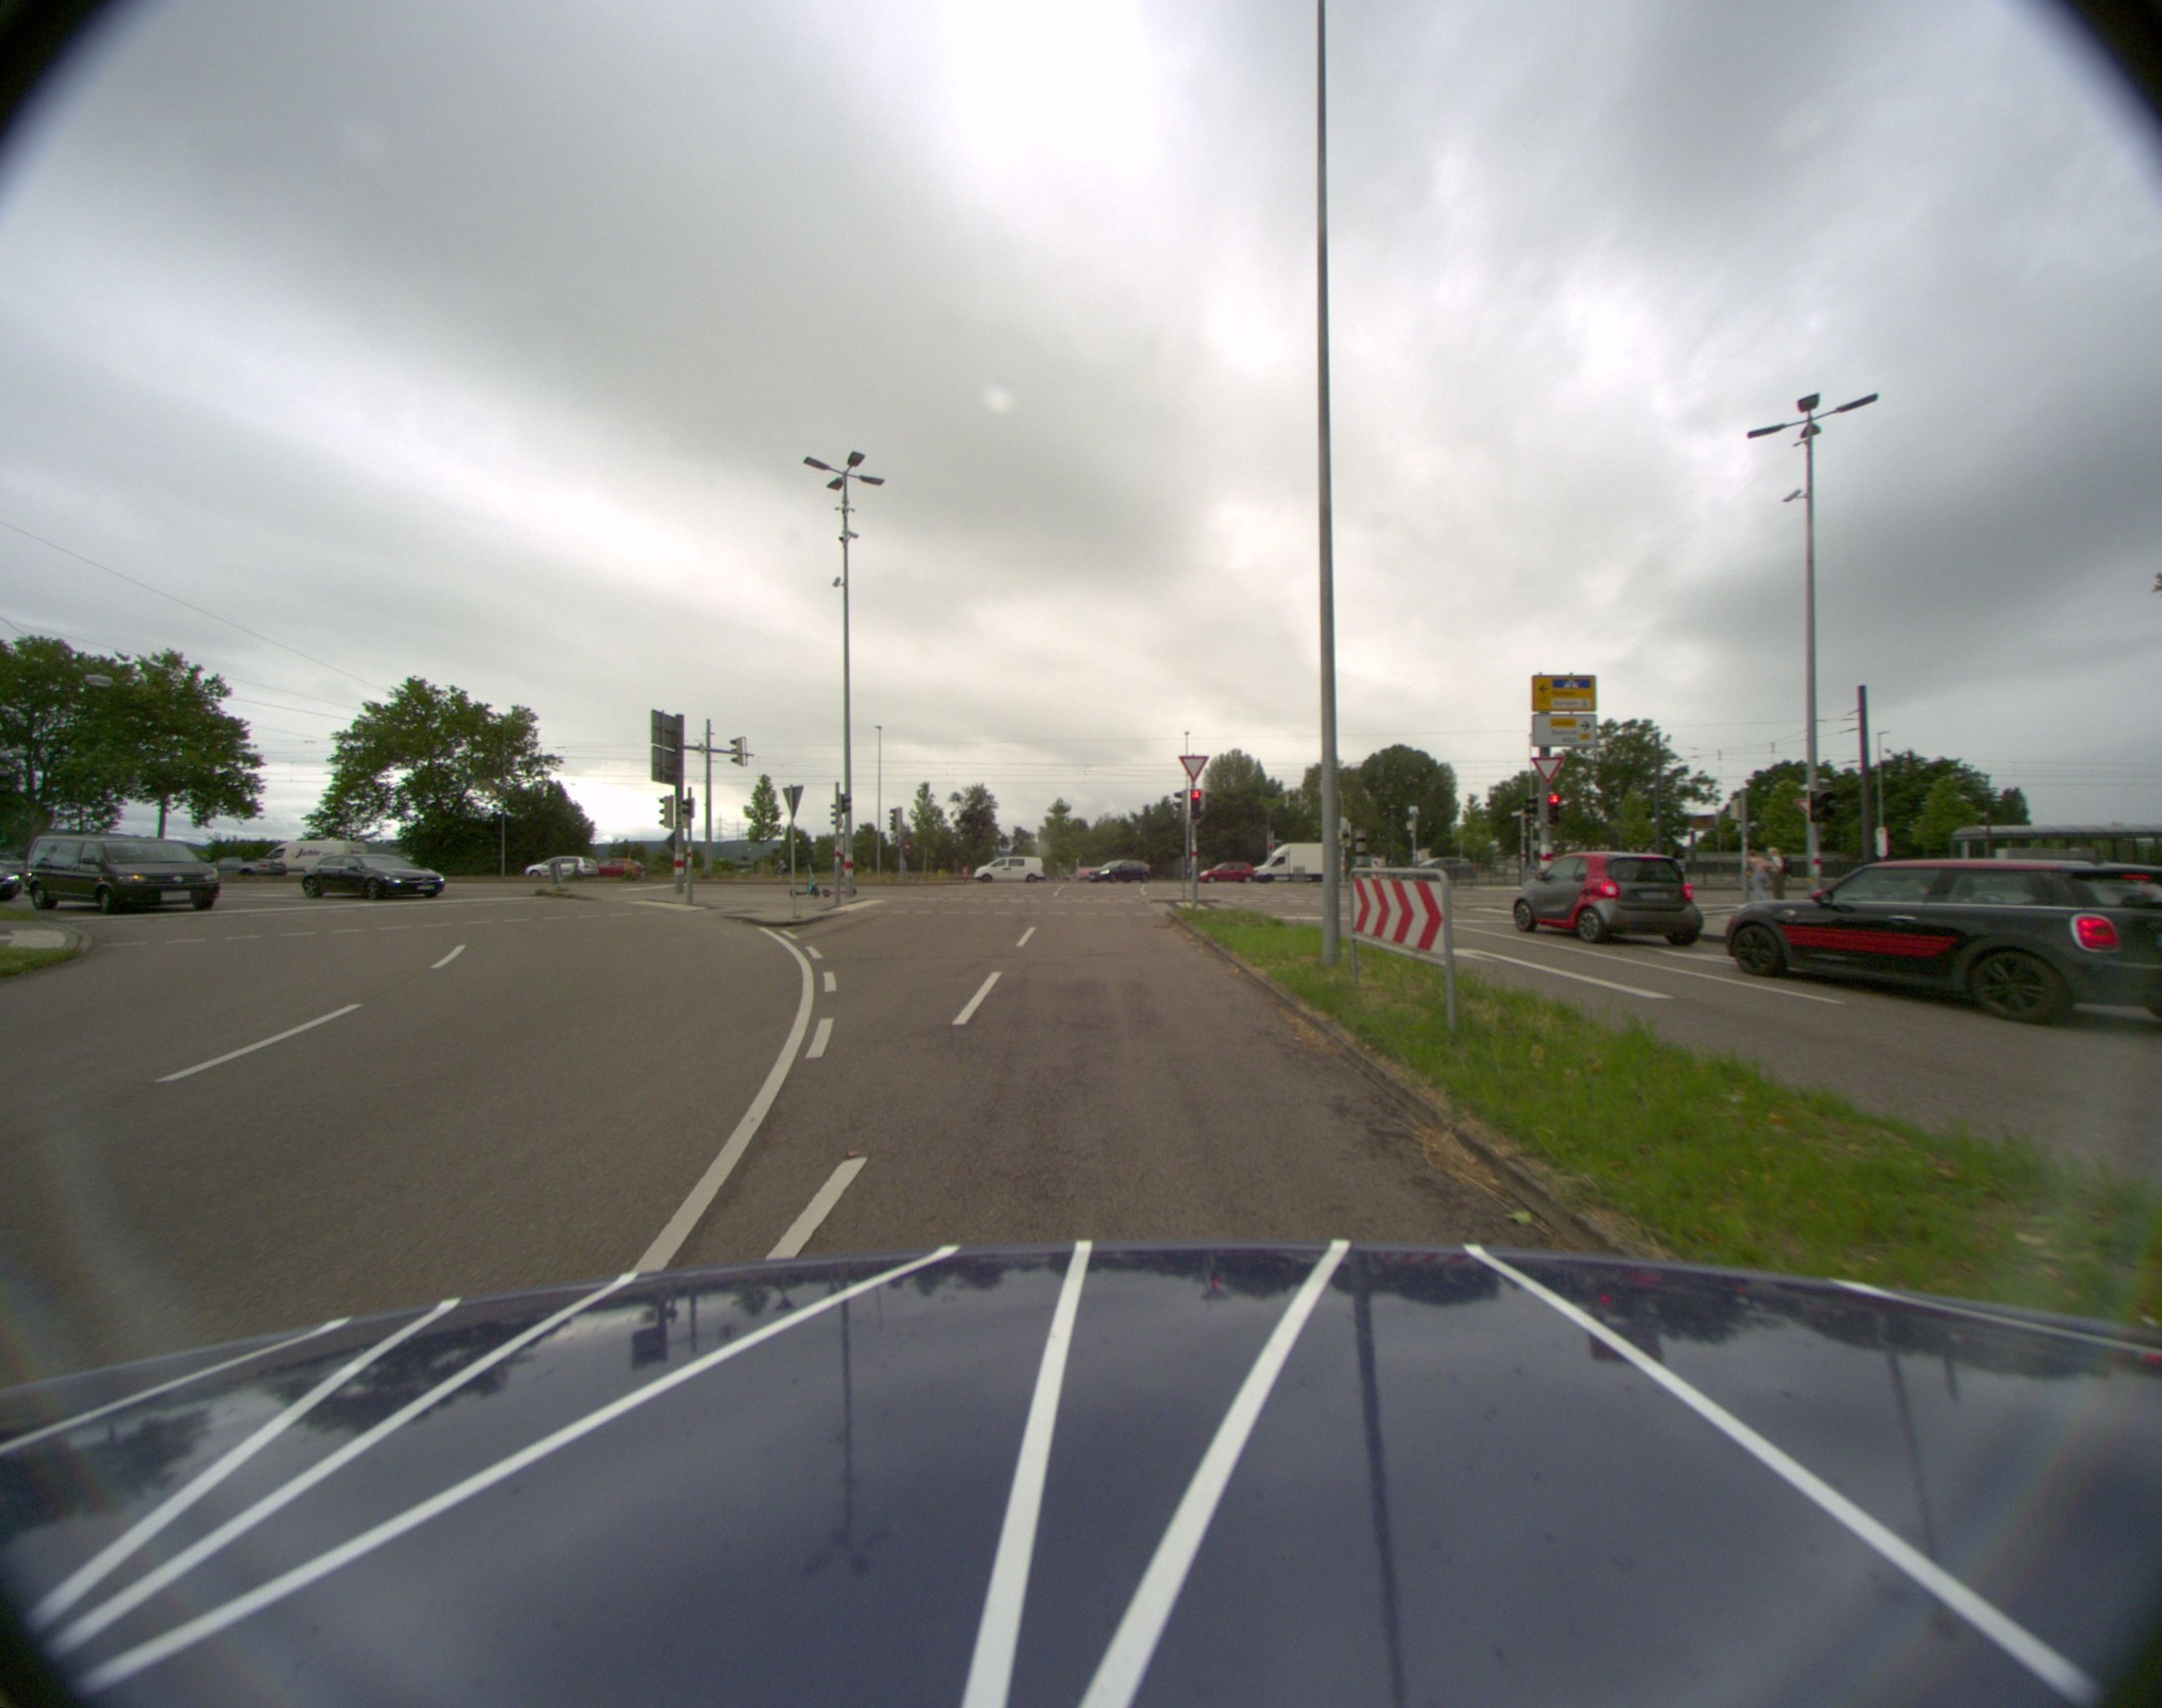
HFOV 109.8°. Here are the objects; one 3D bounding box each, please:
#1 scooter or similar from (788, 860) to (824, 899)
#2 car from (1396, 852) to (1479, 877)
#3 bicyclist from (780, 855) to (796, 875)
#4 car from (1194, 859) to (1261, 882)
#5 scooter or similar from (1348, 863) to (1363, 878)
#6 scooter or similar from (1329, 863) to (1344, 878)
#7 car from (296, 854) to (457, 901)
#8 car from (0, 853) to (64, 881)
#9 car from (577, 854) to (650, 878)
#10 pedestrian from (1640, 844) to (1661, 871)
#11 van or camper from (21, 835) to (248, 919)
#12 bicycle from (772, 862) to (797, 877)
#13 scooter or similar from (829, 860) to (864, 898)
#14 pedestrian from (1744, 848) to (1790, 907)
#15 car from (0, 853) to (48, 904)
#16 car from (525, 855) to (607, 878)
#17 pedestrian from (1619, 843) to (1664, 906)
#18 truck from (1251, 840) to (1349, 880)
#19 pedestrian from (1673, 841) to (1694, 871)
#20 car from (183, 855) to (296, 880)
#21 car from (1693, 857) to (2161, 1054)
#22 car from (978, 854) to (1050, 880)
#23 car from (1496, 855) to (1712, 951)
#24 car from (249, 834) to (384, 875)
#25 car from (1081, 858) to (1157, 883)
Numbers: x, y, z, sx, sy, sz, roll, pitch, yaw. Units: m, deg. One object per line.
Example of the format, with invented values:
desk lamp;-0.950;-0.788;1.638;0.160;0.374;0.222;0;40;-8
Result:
scooter or similar;-9.015;0.842;24.906;1.113;1.249;0.321;0;2;15
car;22.304;0.667;47.660;4.369;1.400;1.678;-1;-2;0
bicyclist;-21.656;0.775;56.153;0.968;1.445;0.691;1;2;-11
car;10.277;1.172;53.429;4.247;1.641;1.784;0;-2;-5
scooter or similar;22.435;1.332;62.102;1.046;1.208;0.375;-3;0;7
scooter or similar;20.833;1.357;61.969;1.153;1.236;0.478;0;1;7
car;-23.003;0.750;24.858;4.200;1.455;1.839;-1;0;14
car;-62.354;0.763;44.105;4.197;1.542;1.862;0;-2;1
car;-31.027;0.844;50.557;3.773;1.551;1.655;0;-2;-14
pedestrian;33.856;0.195;45.180;0.632;1.550;0.711;-1;-2;3
van or camper;-25.236;0.528;20.306;4.743;2.002;2.126;1;2;17
bicycle;-21.913;1.167;56.174;1.709;1.040;0.548;1;2;-11
scooter or similar;-7.835;0.832;25.368;1.016;1.249;0.465;0;2;15
pedestrian;20.178;0.673;22.354;0.675;1.702;0.766;-1;1;5
car;-32.834;0.694;21.761;4.316;1.455;1.970;0;0;7
car;-32.125;0.774;47.469;3.849;1.410;1.683;0;-2;-6
pedestrian;16.356;0.591;22.192;0.664;1.756;0.686;2;4;-1
truck;16.368;0.483;57.120;6.539;2.905;2.829;0;-2;0
pedestrian;36.052;0.130;45.490;0.586;1.731;0.788;-1;-2;3
car;-49.923;0.810;45.164;4.343;1.382;1.876;0;-2;-6
car;8.865;0.808;7.937;1.666;1.494;4.065;1;0;1
car;-4.908;0.984;55.526;5.120;1.868;2.100;0;-2;-7
car;9.037;0.775;13.455;1.606;1.494;3.209;0;0;0
car;-50.219;0.088;50.023;5.897;2.609;2.665;0;-2;-4
car;2.318;0.969;46.006;4.352;1.383;1.994;-1;0;-40
